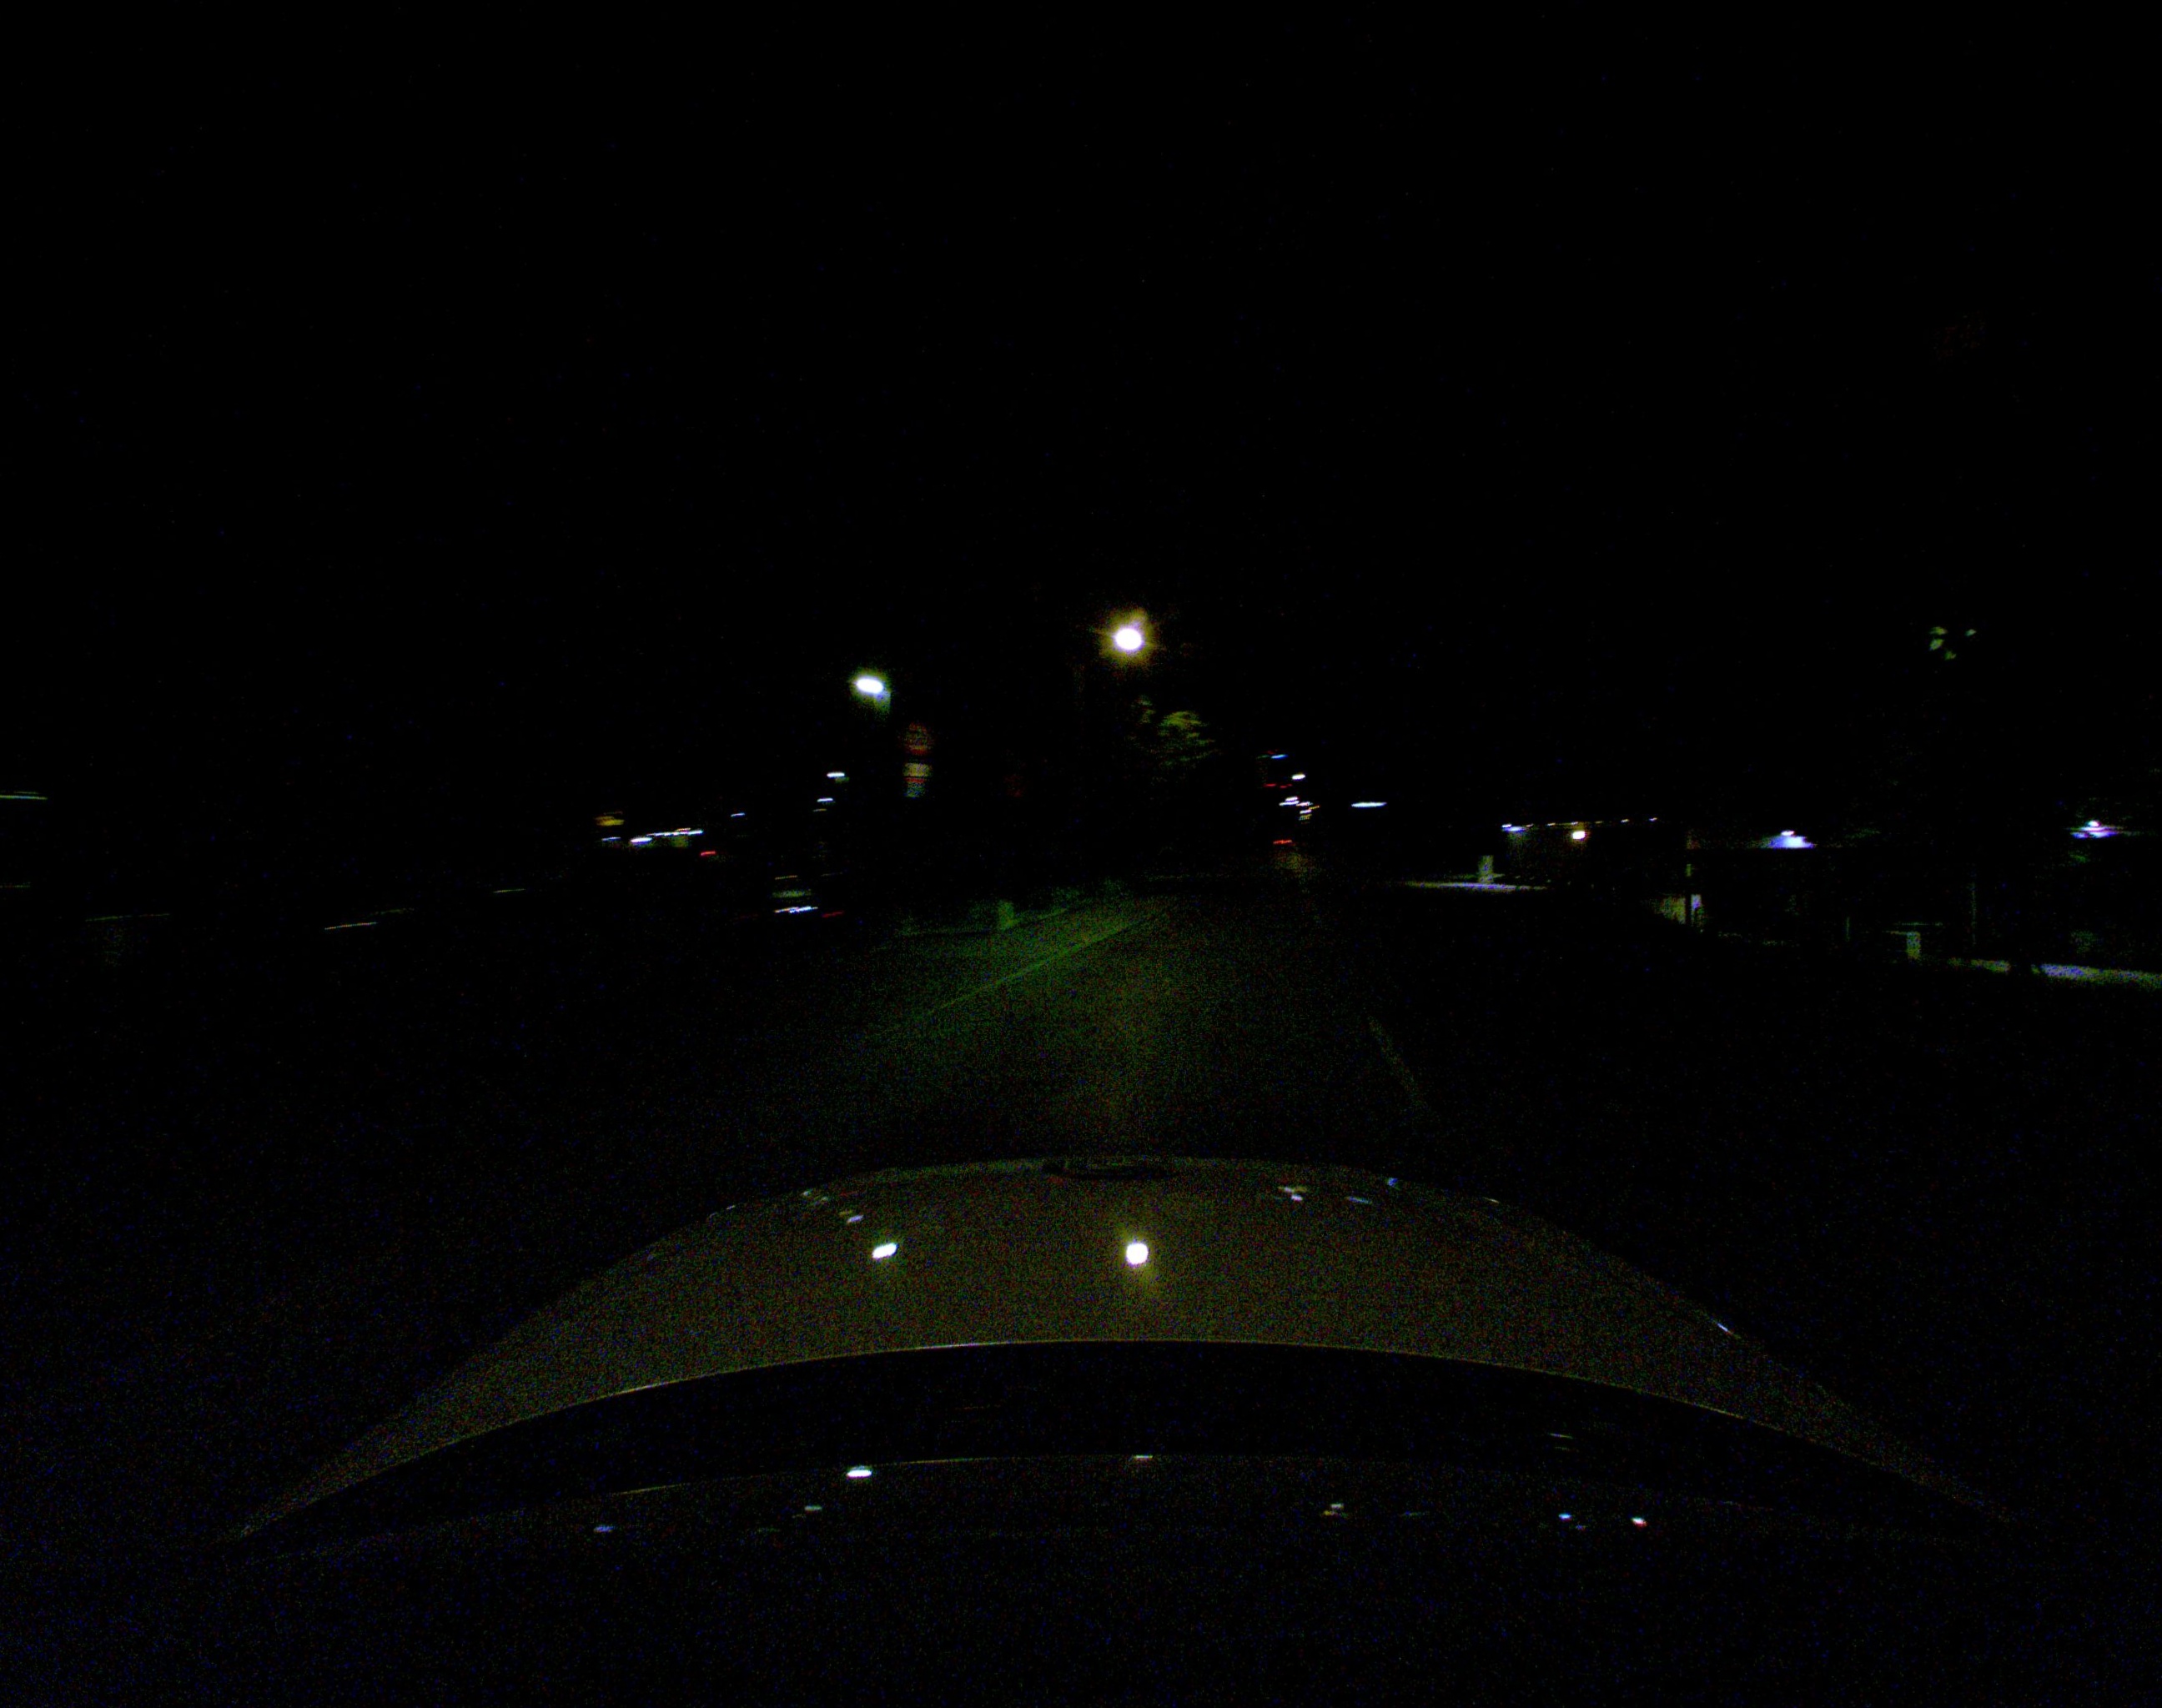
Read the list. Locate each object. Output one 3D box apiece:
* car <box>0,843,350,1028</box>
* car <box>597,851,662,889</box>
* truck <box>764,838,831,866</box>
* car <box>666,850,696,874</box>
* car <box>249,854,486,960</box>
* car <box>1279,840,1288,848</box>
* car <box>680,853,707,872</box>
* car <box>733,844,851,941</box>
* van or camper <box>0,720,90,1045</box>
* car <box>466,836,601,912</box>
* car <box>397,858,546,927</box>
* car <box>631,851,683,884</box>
[{"bbox_3d":[-10.384,0.713,8.964,1.898,1.591,4.346,-1,0,-19],"label":"car"},{"bbox_3d":[-19.378,0.678,35.101,1.710,1.510,4.073,2,-1,-19],"label":"car"},{"bbox_3d":[-30.815,-0.242,88.639,6.802,2.844,1.986,1,0,-22],"label":"truck"},{"bbox_3d":[-30.961,0.617,63.081,1.643,1.760,3.937,0,-1,-19],"label":"car"},{"bbox_3d":[-11.984,0.756,14.102,1.848,1.507,4.702,0,0,-25],"label":"car"},{"bbox_3d":[47.109,-2.342,189.486,1.911,1.854,4.015,0,-1,14],"label":"car"},{"bbox_3d":[-32.735,0.732,68.857,1.612,1.516,3.782,0,-1,-20],"label":"car"},{"bbox_3d":[-5.507,0.656,15.905,1.889,1.603,4.084,-1,0,-17],"label":"car"},{"bbox_3d":[-8.718,0.236,3.832,2.165,2.535,6.186,-2,0,-19],"label":"van or camper"},{"bbox_3d":[-15.609,0.514,23.536,1.999,1.955,4.775,0,0,-19],"label":"car"},{"bbox_3d":[-13.812,0.801,18.713,1.698,1.398,4.049,0,0,-21],"label":"car"},{"bbox_3d":[-21.137,0.650,40.769,1.682,1.566,4.078,0,-1,-19],"label":"car"}]
